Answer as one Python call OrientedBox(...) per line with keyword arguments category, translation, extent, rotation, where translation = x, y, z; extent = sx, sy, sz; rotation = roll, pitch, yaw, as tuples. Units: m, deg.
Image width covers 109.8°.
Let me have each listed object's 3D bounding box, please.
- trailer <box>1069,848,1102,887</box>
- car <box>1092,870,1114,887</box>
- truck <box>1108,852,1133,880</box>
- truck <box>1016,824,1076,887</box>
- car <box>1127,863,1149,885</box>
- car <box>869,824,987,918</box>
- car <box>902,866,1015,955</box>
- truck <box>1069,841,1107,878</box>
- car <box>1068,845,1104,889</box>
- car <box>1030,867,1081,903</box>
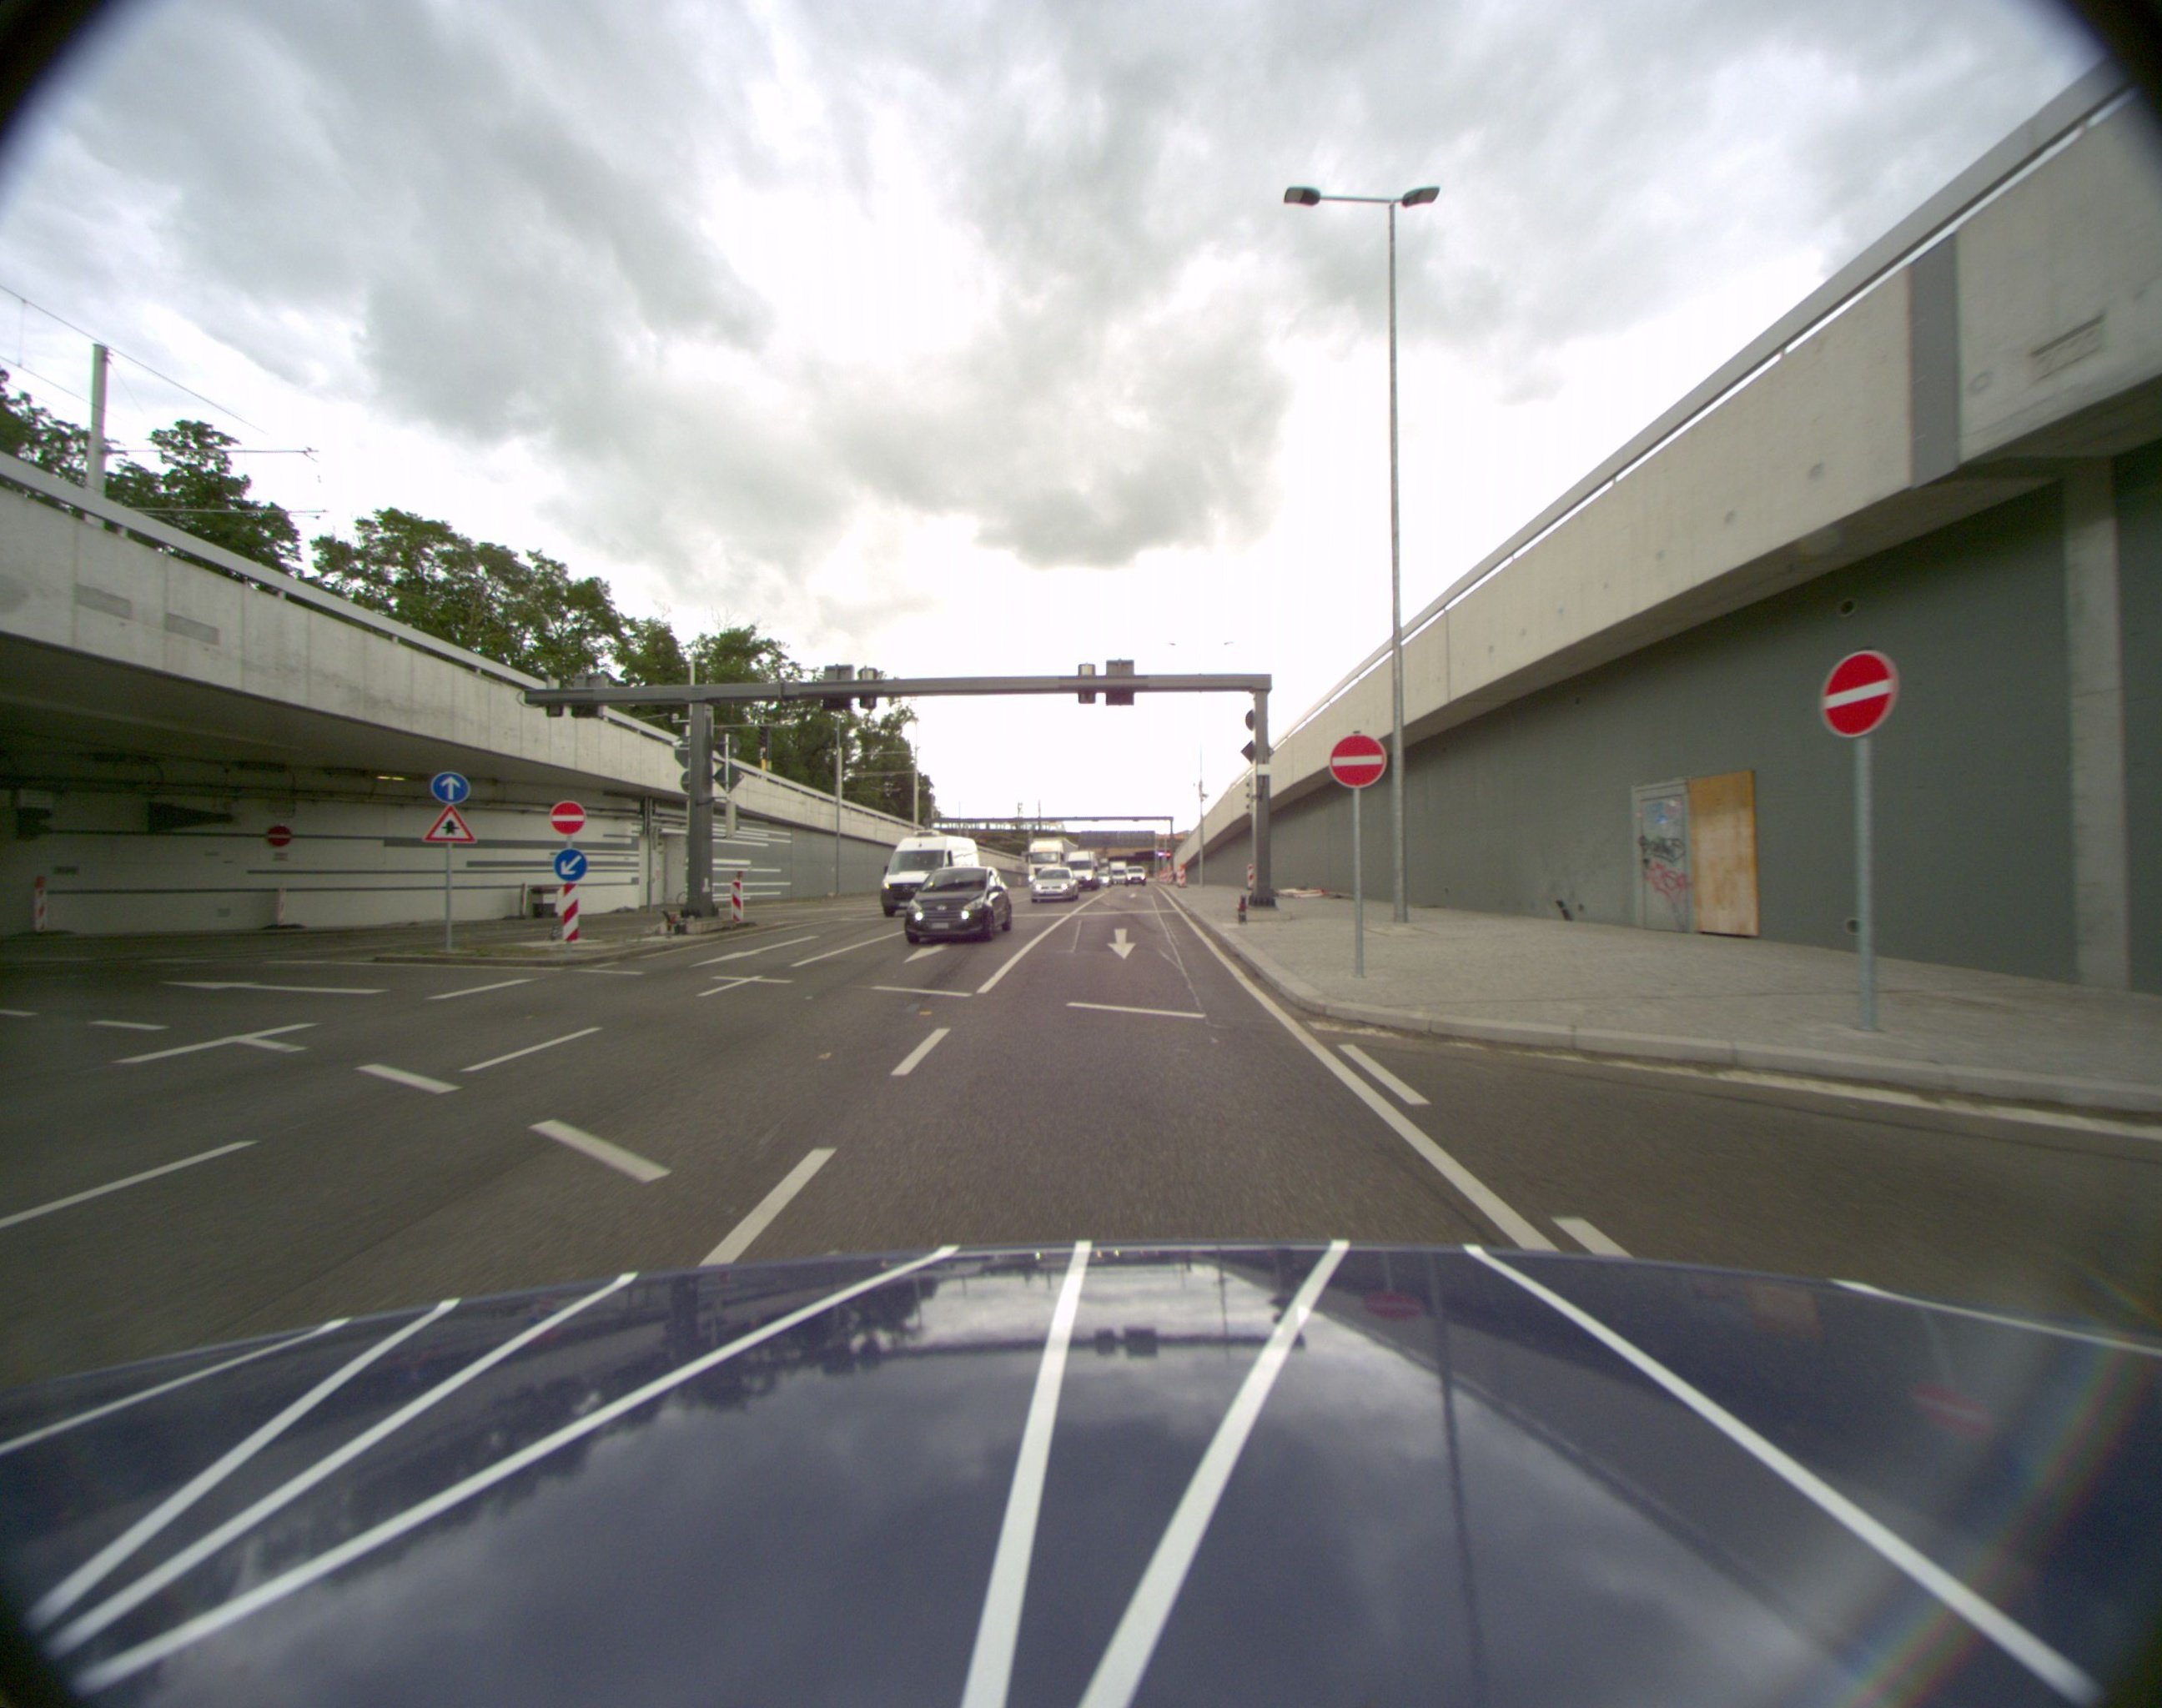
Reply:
OrientedBox(category="trailer", translation=(0.302, 1.030, 54.679), extent=(2.108, 2.622, 4.812), rotation=(-3, -2, 0))
OrientedBox(category="car", translation=(1.970, 2.138, 66.563), extent=(1.720, 1.390, 4.349), rotation=(0, 0, 5))
OrientedBox(category="truck", translation=(5.598, 1.650, 107.252), extent=(3.031, 3.565, 8.955), rotation=(-5, -1, 4))
OrientedBox(category="truck", translation=(-2.670, 0.177, 61.297), extent=(3.813, 4.603, 7.446), rotation=(-3, -1, 4))
OrientedBox(category="car", translation=(5.576, 1.975, 73.689), extent=(1.998, 1.978, 5.202), rotation=(-3, -1, 5))
OrientedBox(category="car", translation=(-5.063, 0.625, 26.460), extent=(2.080, 2.756, 7.331), rotation=(-1, -2, 4))
OrientedBox(category="car", translation=(-2.443, 1.077, 15.979), extent=(1.686, 1.536, 3.692), rotation=(-1, 1, 1))
OrientedBox(category="truck", translation=(0.961, 0.775, 92.793), extent=(3.733, 4.116, 10.989), rotation=(-2, -2, 4))
OrientedBox(category="car", translation=(0.290, 0.959, 50.518), extent=(2.063, 2.611, 5.945), rotation=(-4, -2, 0))
OrientedBox(category="car", translation=(-1.029, 1.289, 32.647), extent=(1.767, 1.375, 4.040), rotation=(-1, -1, 4))
